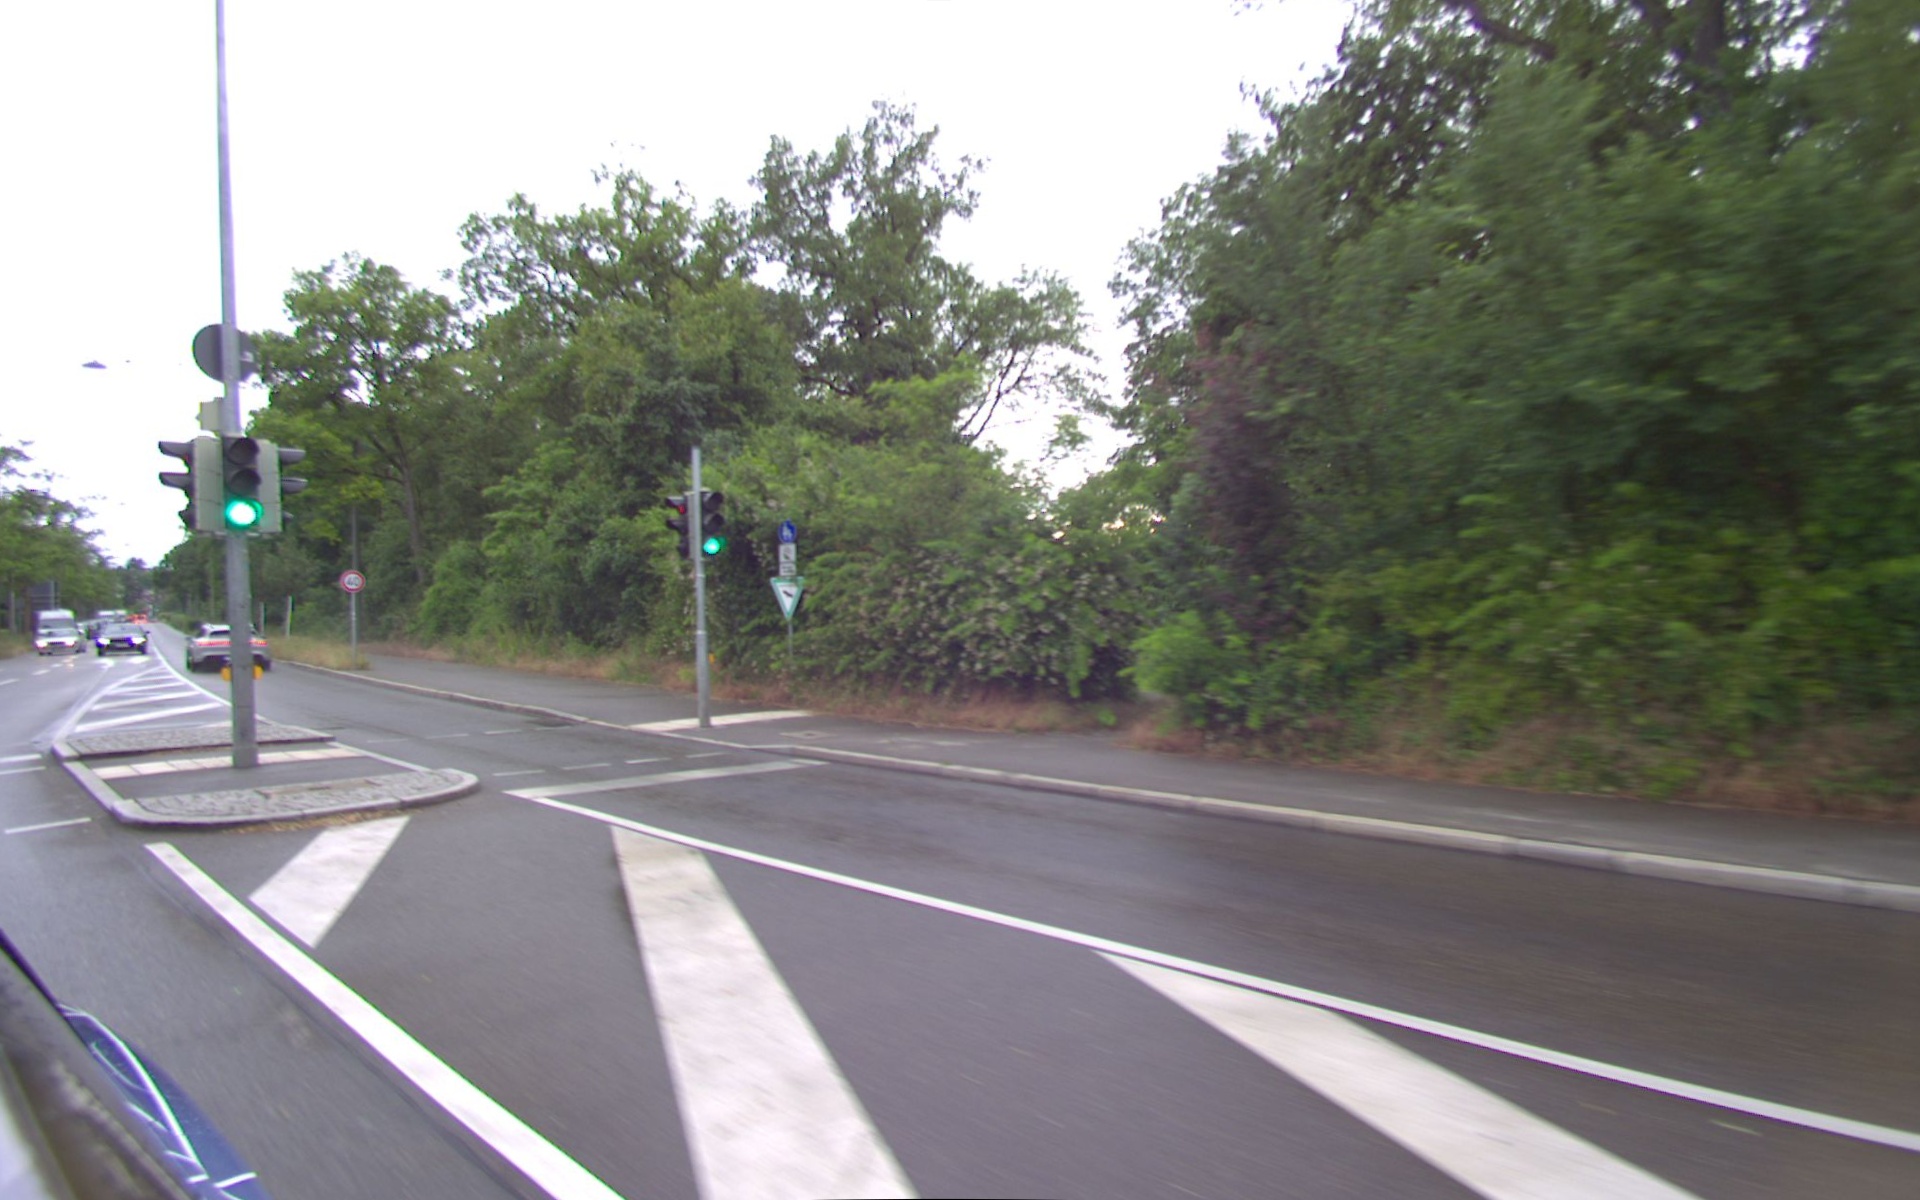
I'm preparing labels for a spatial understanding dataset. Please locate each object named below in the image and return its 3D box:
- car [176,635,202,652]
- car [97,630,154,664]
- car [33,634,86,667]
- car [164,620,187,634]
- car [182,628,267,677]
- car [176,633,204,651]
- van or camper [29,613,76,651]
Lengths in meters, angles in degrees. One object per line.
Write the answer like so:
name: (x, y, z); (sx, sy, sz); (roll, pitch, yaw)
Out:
car: (-78.379, 4.415, 102.824); (1.916, 1.615, 4.611); (1, -2, -40)
car: (-38.741, 2.168, 46.947); (1.916, 1.466, 4.610); (1, -2, -41)
car: (-46.695, 2.585, 52.557); (1.916, 1.615, 4.611); (1, -2, -40)
car: (-90.785, 3.112, 117.072); (1.916, 1.615, 4.611); (1, -2, -40)
car: (-22.978, 1.596, 31.534); (1.915, 1.386, 4.612); (1, -2, -39)
car: (-73.105, 3.973, 96.083); (1.916, 1.615, 4.611); (1, -2, -40)
van or camper: (-61.252, 2.160, 68.380); (1.968, 2.471, 4.731); (-1, -1, -38)
